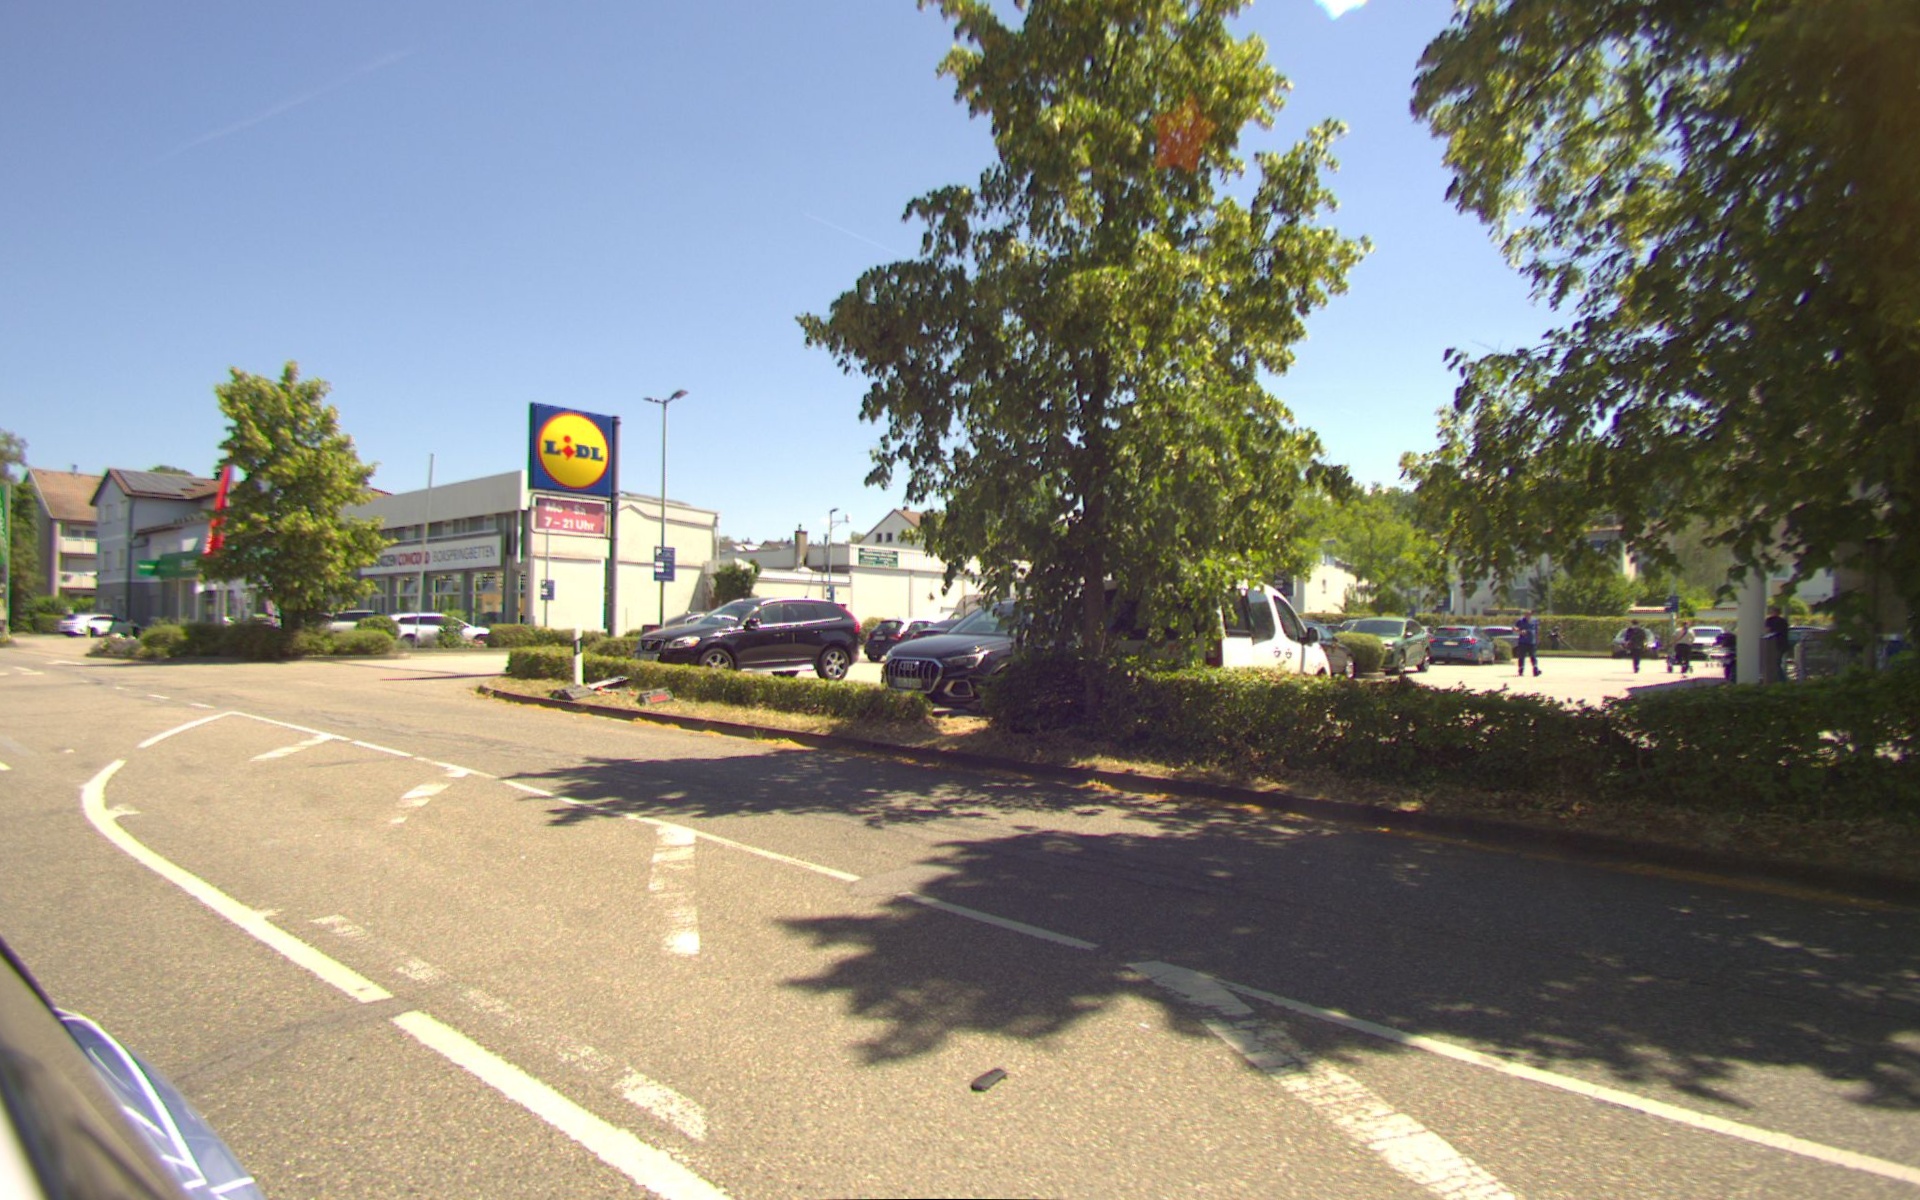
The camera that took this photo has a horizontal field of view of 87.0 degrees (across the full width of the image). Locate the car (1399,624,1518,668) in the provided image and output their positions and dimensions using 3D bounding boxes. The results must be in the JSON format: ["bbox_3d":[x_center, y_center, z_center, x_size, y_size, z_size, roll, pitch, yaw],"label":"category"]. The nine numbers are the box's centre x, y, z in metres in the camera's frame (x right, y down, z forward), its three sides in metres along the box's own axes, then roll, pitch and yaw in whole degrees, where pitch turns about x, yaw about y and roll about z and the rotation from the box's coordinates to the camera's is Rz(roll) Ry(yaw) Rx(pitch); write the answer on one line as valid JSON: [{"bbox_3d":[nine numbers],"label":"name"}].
[{"bbox_3d":[20.105,1.805,40.887,3.997,1.613,1.775,0,0,40],"label":"car"}]

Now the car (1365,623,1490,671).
[{"bbox_3d":[17.576,1.736,38.122,3.997,1.613,1.775,0,0,40],"label":"car"}]

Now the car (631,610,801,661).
[{"bbox_3d":[-7.319,1.019,30.503,4.609,1.411,1.944,0,0,-32],"label":"car"}]

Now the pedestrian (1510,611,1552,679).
[{"bbox_3d":[15.556,1.219,27.587,0.763,1.820,0.751,0,0,10],"label":"pedestrian"}]

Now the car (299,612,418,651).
[{"bbox_3d":[-27.044,1.392,45.566,4.470,1.676,2.005,0,-1,-35],"label":"car"}]

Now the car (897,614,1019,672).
[{"bbox_3d":[0.020,1.234,30.790,1.763,1.601,4.204,0,0,32],"label":"car"}]

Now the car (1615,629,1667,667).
[{"bbox_3d":[32.933,2.297,48.899,1.797,1.613,3.948,0,0,38],"label":"car"}]

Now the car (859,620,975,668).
[{"bbox_3d":[-1.337,1.393,33.088,1.763,1.379,4.204,0,0,32],"label":"car"}]

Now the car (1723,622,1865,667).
[{"bbox_3d":[31.994,1.682,38.946,4.134,1.543,1.801,0,0,41],"label":"car"}]

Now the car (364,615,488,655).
[{"bbox_3d":[-21.255,1.364,40.339,4.129,1.457,1.984,0,-1,-38],"label":"car"}]

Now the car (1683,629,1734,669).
[{"bbox_3d":[35.173,2.266,47.517,1.797,1.613,3.948,0,0,38],"label":"car"}]

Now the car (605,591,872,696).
[{"bbox_3d":[-4.135,0.733,19.477,2.099,1.775,4.655,0,0,44],"label":"car"}]

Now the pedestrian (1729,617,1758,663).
[{"bbox_3d":[27.399,1.385,35.397,0.665,1.592,0.636,0,0,-34],"label":"pedestrian"}]

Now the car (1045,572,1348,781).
[{"bbox_3d":[2.966,0.731,11.997,1.902,1.995,4.315,0,0,38],"label":"car"}]

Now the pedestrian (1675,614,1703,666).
[{"bbox_3d":[21.851,1.182,30.346,0.675,1.525,0.627,0,0,35],"label":"pedestrian"}]

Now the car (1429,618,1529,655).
[{"bbox_3d":[24.752,1.707,48.331,3.996,1.613,1.776,0,0,39],"label":"car"}]

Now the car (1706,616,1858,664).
[{"bbox_3d":[29.296,1.389,36.188,4.134,1.543,1.801,0,0,41],"label":"car"}]

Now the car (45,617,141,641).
[{"bbox_3d":[-55.281,1.819,64.627,1.921,1.450,4.336,0,-1,13],"label":"car"}]

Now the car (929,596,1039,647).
[{"bbox_3d":[1.273,1.121,55.611,5.894,2.647,2.259,0,0,39],"label":"car"}]

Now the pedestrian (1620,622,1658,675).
[{"bbox_3d":[20.438,1.451,30.465,0.794,1.525,0.793,0,0,22],"label":"pedestrian"}]

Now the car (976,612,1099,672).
[{"bbox_3d":[2.366,1.172,29.980,1.906,1.618,4.279,0,0,32],"label":"car"}]

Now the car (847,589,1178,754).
[{"bbox_3d":[0.828,0.801,13.668,4.334,1.859,2.105,0,0,-44],"label":"car"}]
